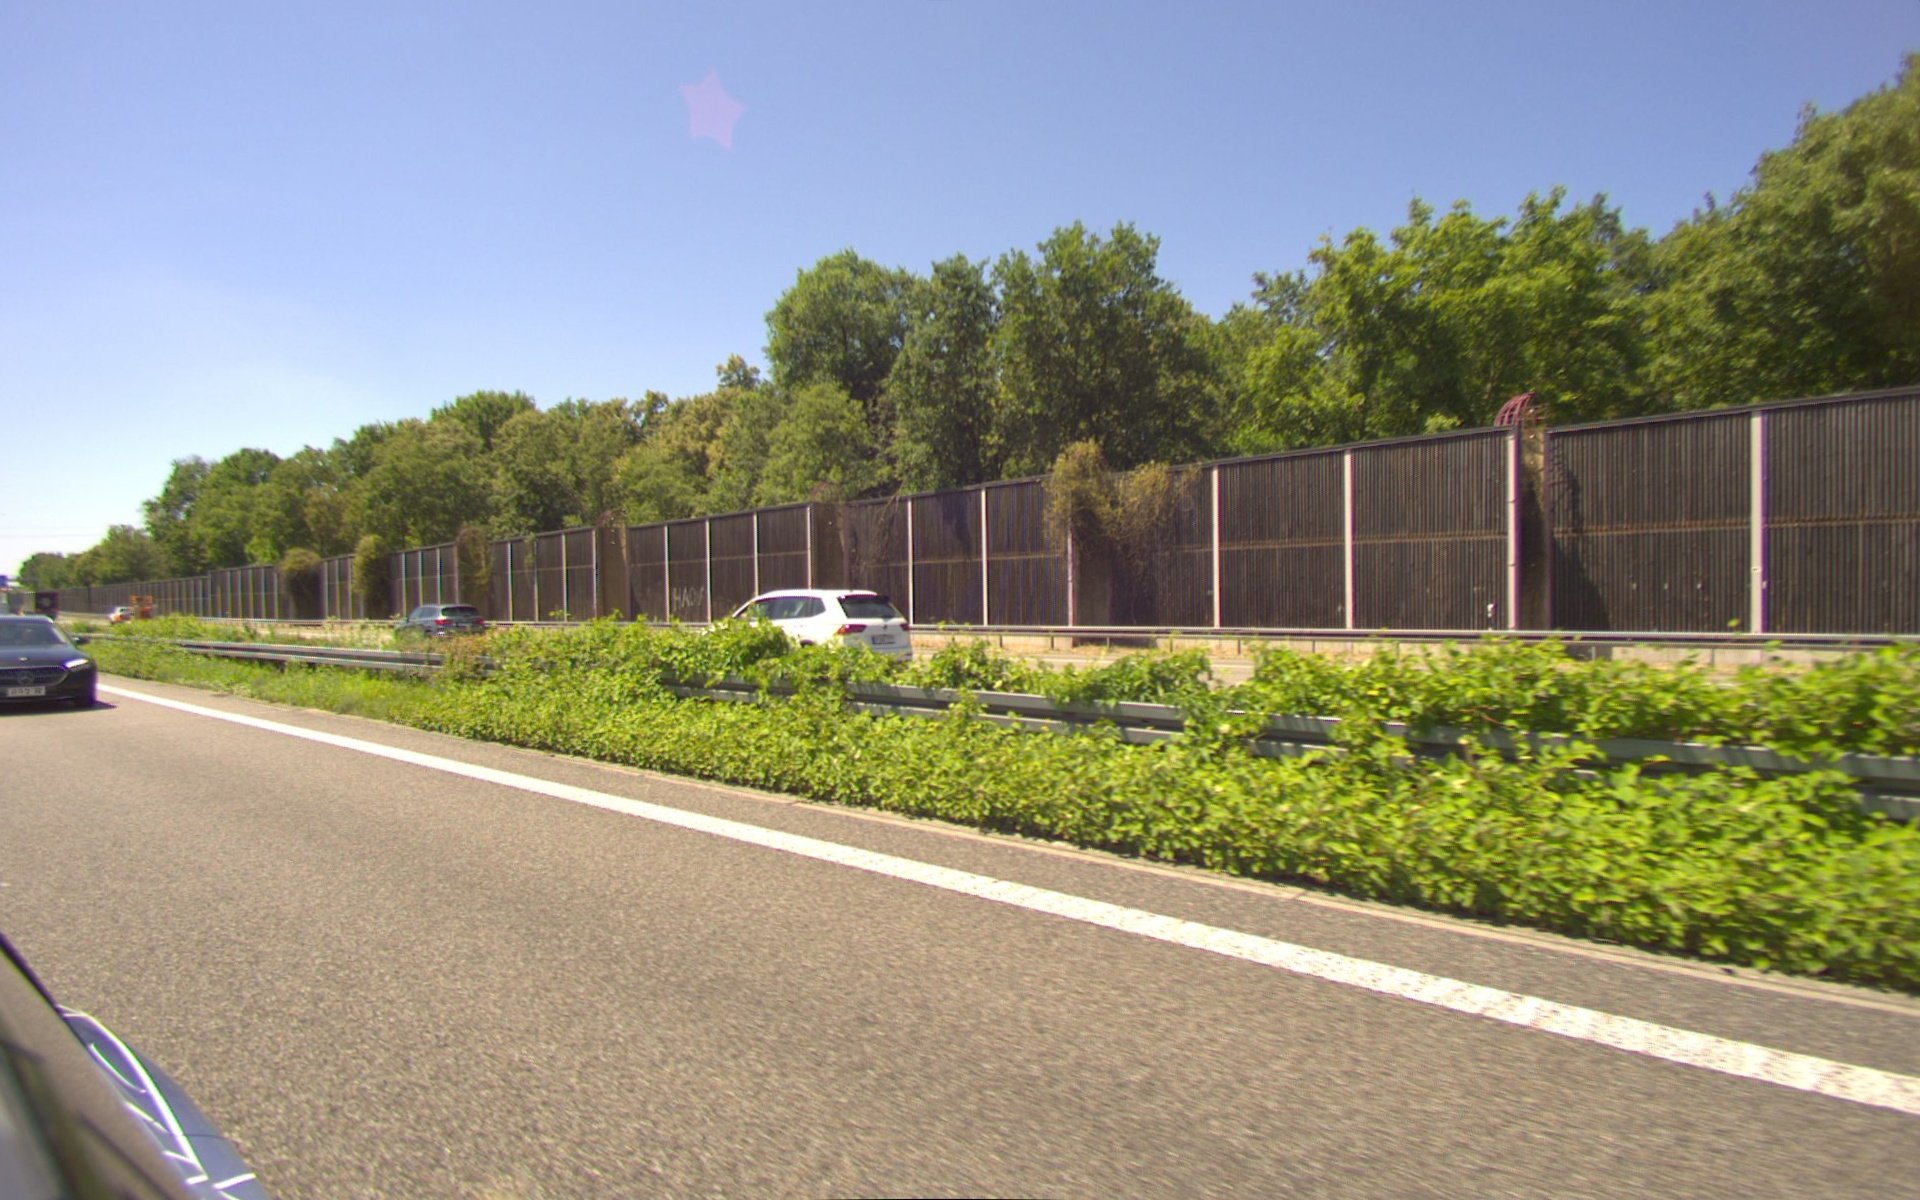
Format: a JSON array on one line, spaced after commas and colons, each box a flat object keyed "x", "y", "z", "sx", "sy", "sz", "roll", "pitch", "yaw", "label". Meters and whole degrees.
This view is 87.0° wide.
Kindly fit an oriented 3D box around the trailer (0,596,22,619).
[{"x": -177.028, "y": 1.384, "z": 188.080, "sx": 13.805, "sy": 4.060, "sz": 2.930, "roll": -1, "pitch": 0, "yaw": 42, "label": "trailer"}]

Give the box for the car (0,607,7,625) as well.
[{"x": -140.949, "y": 2.345, "z": 147.620, "sx": 6.787, "sy": 2.559, "sz": 2.142, "roll": -1, "pitch": 1, "yaw": 42, "label": "car"}]

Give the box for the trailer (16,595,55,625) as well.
[{"x": -133.094, "y": 1.407, "z": 145.656, "sx": 13.330, "sy": 4.123, "sz": 2.868, "roll": -1, "pitch": 0, "yaw": 42, "label": "trailer"}]

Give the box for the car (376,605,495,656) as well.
[{"x": -18.541, "y": 1.056, "z": 35.708, "sx": 4.686, "sy": 1.660, "sz": 1.974, "roll": -1, "pitch": -1, "yaw": 38, "label": "car"}]

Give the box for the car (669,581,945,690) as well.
[{"x": -2.812, "y": 0.583, "z": 17.878, "sx": 5.040, "sy": 1.660, "sz": 1.974, "roll": -1, "pitch": -1, "yaw": 40, "label": "car"}]

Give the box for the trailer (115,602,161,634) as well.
[{"x": -73.694, "y": 1.617, "z": 90.668, "sx": 6.507, "sy": 2.797, "sz": 2.219, "roll": -1, "pitch": -1, "yaw": 42, "label": "trailer"}]

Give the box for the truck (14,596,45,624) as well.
[{"x": -138.407, "y": 1.493, "z": 150.494, "sx": 6.116, "sy": 4.123, "sz": 2.868, "roll": -1, "pitch": 0, "yaw": 42, "label": "truck"}]

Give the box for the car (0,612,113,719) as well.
[{"x": -15.796, "y": 0.993, "z": 16.600, "sx": 5.815, "sy": 1.518, "sz": 1.924, "roll": -1, "pitch": -1, "yaw": 40, "label": "car"}]

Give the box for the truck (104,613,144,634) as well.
[{"x": -78.402, "y": 2.204, "z": 94.883, "sx": 6.209, "sy": 1.830, "sz": 2.078, "roll": -1, "pitch": -1, "yaw": 42, "label": "truck"}]
